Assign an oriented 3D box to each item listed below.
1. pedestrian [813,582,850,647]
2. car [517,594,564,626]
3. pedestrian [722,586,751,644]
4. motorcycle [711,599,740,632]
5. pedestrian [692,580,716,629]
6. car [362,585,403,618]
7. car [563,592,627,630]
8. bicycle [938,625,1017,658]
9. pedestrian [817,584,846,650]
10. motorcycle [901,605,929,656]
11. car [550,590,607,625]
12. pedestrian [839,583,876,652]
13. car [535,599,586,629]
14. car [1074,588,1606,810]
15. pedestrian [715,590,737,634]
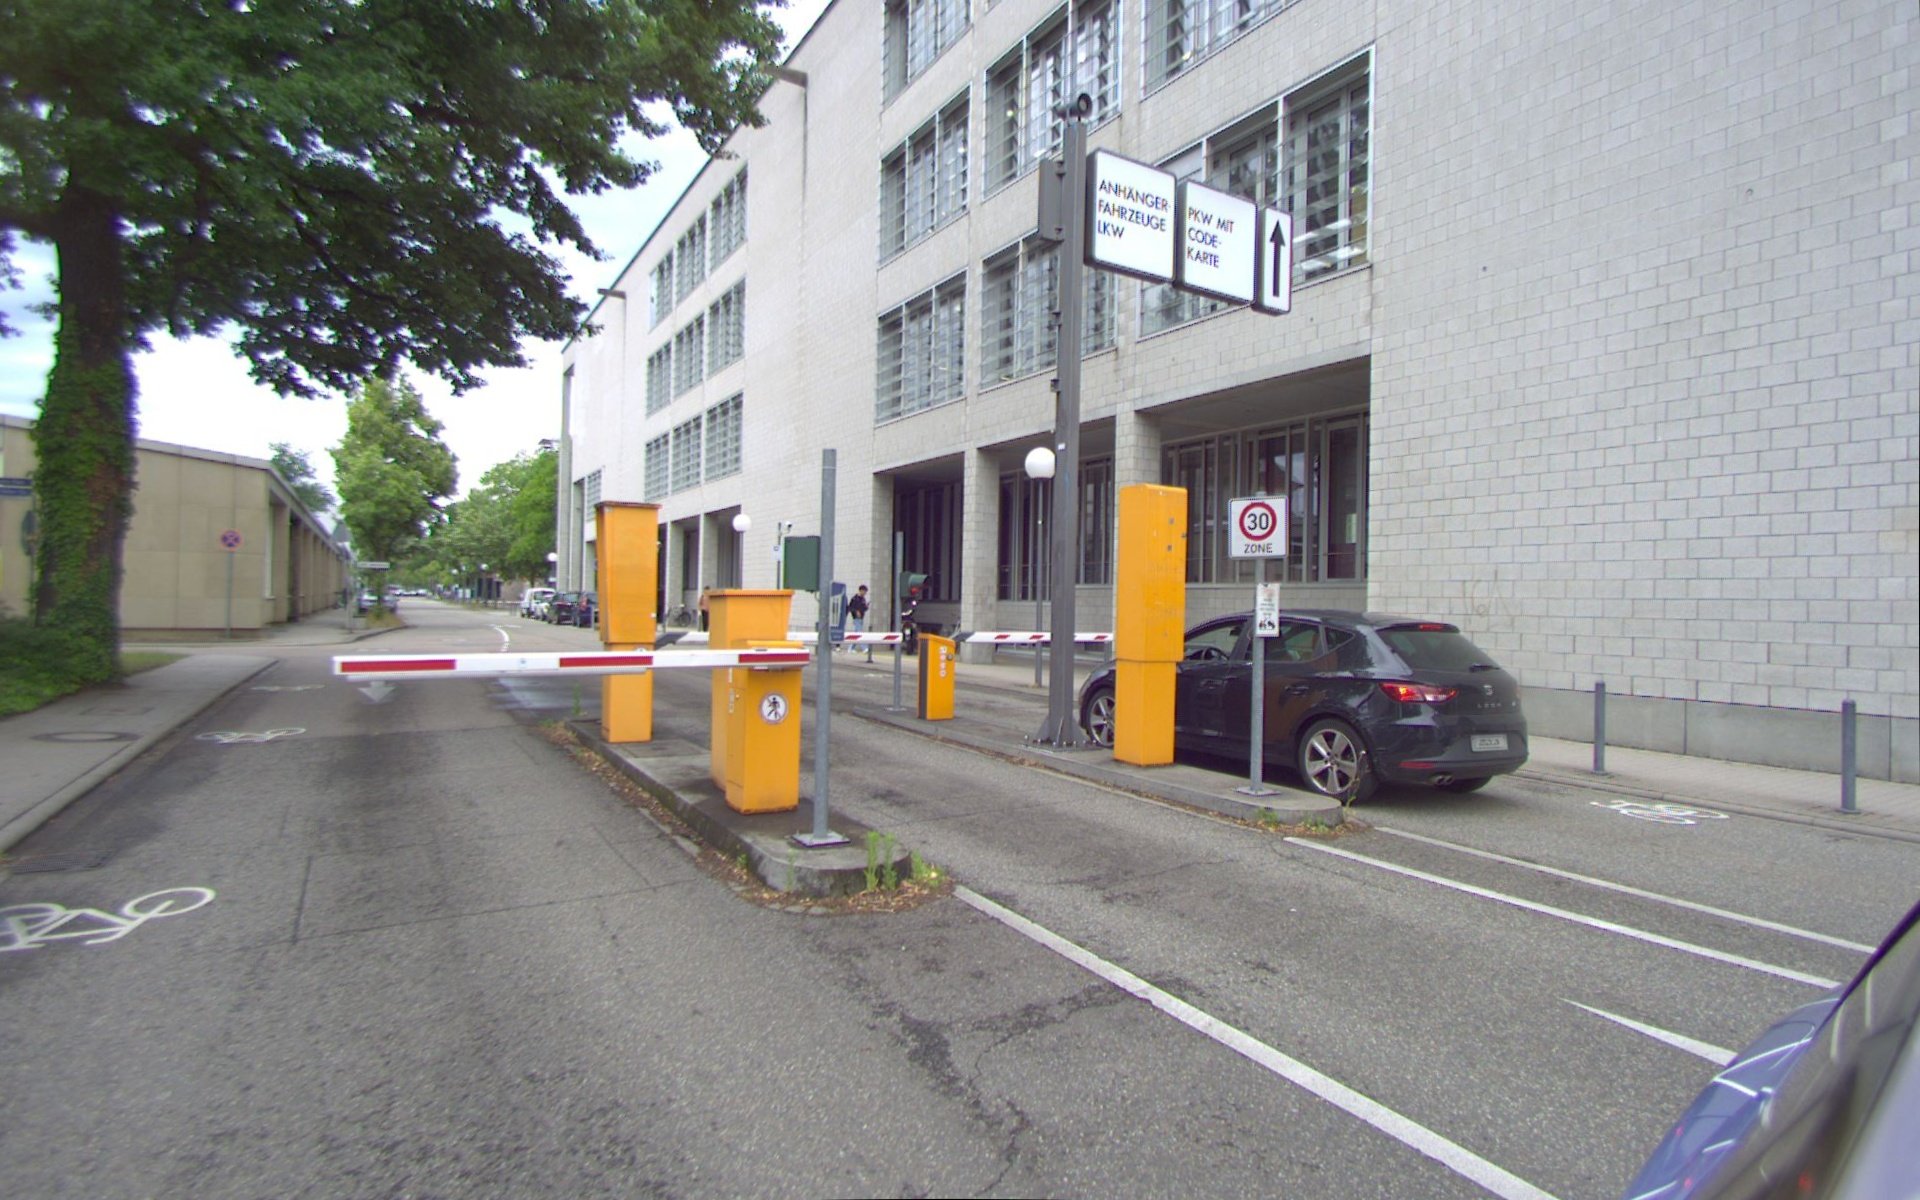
[{"bbox_3d":[-3.463,0.393,27.242,0.716,1.720,0.588,2,1,-35],"label":"pedestrian"},{"bbox_3d":[-24.676,0.538,59.398,1.960,1.804,4.432,-1,1,-30],"label":"car"},{"bbox_3d":[-6.794,0.454,30.741,0.685,1.736,0.489,2,-1,-34],"label":"pedestrian"},{"bbox_3d":[-9.382,0.604,40.595,0.746,1.162,2.666,3,1,-6],"label":"motorcycle"},{"bbox_3d":[-9.067,0.165,35.871,0.684,1.736,0.490,2,-1,-26],"label":"pedestrian"},{"bbox_3d":[-30.133,0.082,52.727,1.740,1.621,4.003,2,0,-31],"label":"car"},{"bbox_3d":[-16.830,0.492,46.543,1.960,1.643,4.431,0,0,-31],"label":"car"},{"bbox_3d":[0.418,0.965,23.405,1.866,0.707,0.493,2,1,-34],"label":"bicycle"},{"bbox_3d":[-3.462,0.448,27.195,0.601,1.736,0.575,0,0,-30],"label":"pedestrian"},{"bbox_3d":[-1.173,0.754,26.159,0.556,1.162,2.220,3,1,-6],"label":"motorcycle"},{"bbox_3d":[-19.083,0.312,50.478,1.960,1.643,4.432,-1,1,-30],"label":"car"},{"bbox_3d":[-2.644,0.448,26.138,0.678,1.720,0.589,2,1,-30],"label":"pedestrian"},{"bbox_3d":[-21.720,0.713,54.918,1.960,1.481,4.432,-1,1,-30],"label":"car"},{"bbox_3d":[2.950,0.636,8.787,1.752,1.437,4.133,2,0,-30],"label":"car"},{"bbox_3d":[-8.413,0.433,36.399,0.633,1.546,0.473,2,-1,-28],"label":"pedestrian"}]
